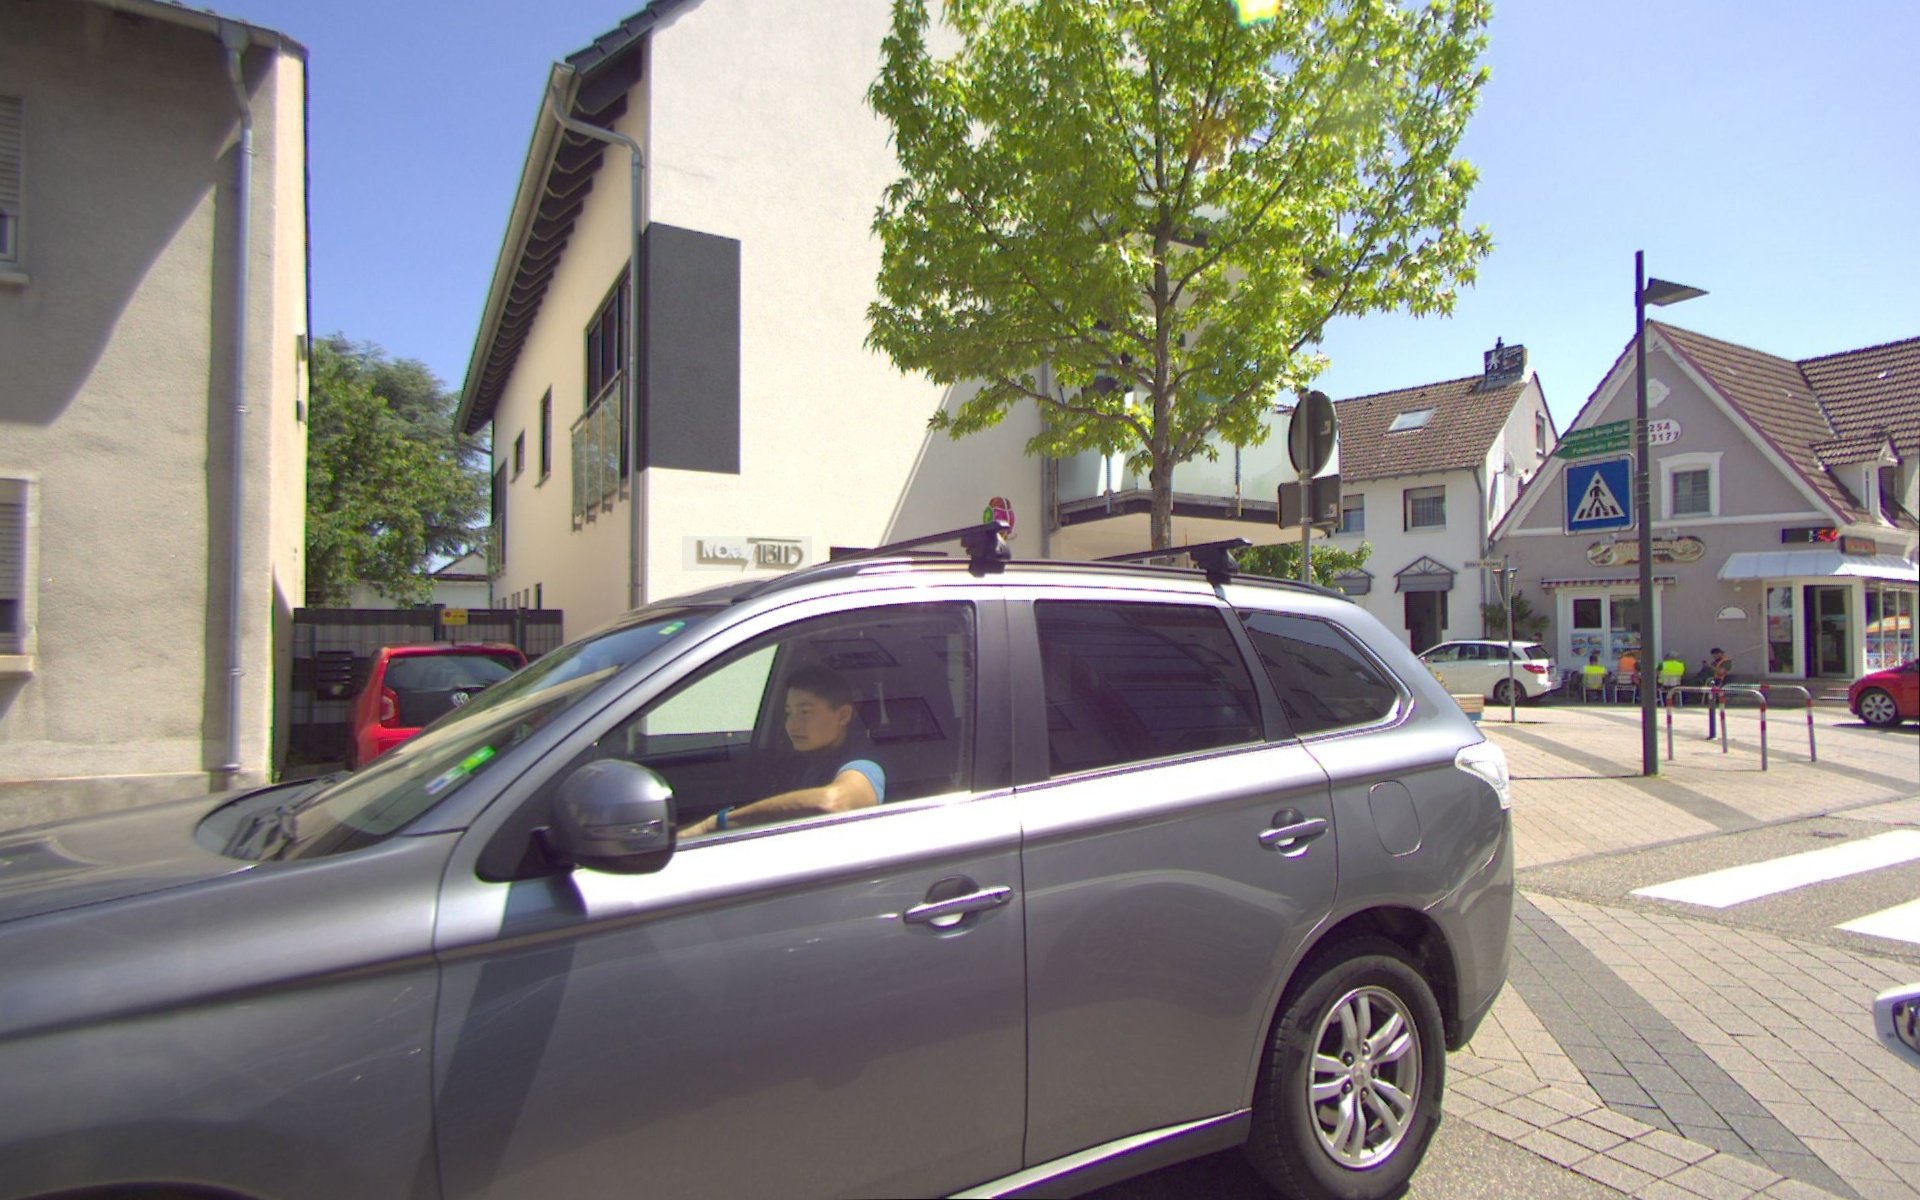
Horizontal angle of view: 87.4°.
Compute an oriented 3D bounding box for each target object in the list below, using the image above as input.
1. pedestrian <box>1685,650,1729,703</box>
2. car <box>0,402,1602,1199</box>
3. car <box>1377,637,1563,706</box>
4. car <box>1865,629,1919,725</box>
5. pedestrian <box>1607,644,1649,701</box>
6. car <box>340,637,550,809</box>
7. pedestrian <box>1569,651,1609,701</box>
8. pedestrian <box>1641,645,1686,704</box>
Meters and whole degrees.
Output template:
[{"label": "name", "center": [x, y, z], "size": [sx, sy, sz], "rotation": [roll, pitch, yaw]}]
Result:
[{"label": "pedestrian", "center": [17.460, 1.775, 23.478], "size": [0.689, 1.194, 0.618], "rotation": [1, -2, -33]}, {"label": "car", "center": [-0.265, 0.687, 2.730], "size": [4.182, 1.738, 1.667], "rotation": [1, -3, -30]}, {"label": "car", "center": [12.782, 1.737, 25.333], "size": [1.507, 1.566, 3.880], "rotation": [0, -1, -42]}, {"label": "car", "center": [15.425, 1.131, 14.305], "size": [1.649, 1.449, 3.679], "rotation": [0, -2, -2]}, {"label": "pedestrian", "center": [16.127, 1.741, 24.258], "size": [0.623, 1.306, 0.789], "rotation": [1, 0, 18]}, {"label": "car", "center": [-5.368, 1.124, 10.299], "size": [1.571, 1.462, 3.095], "rotation": [1, -3, -34]}, {"label": "pedestrian", "center": [15.199, 1.828, 24.278], "size": [0.623, 1.130, 0.789], "rotation": [1, 0, 18]}, {"label": "pedestrian", "center": [16.340, 1.716, 23.352], "size": [0.623, 1.306, 0.789], "rotation": [1, 0, 18]}]
